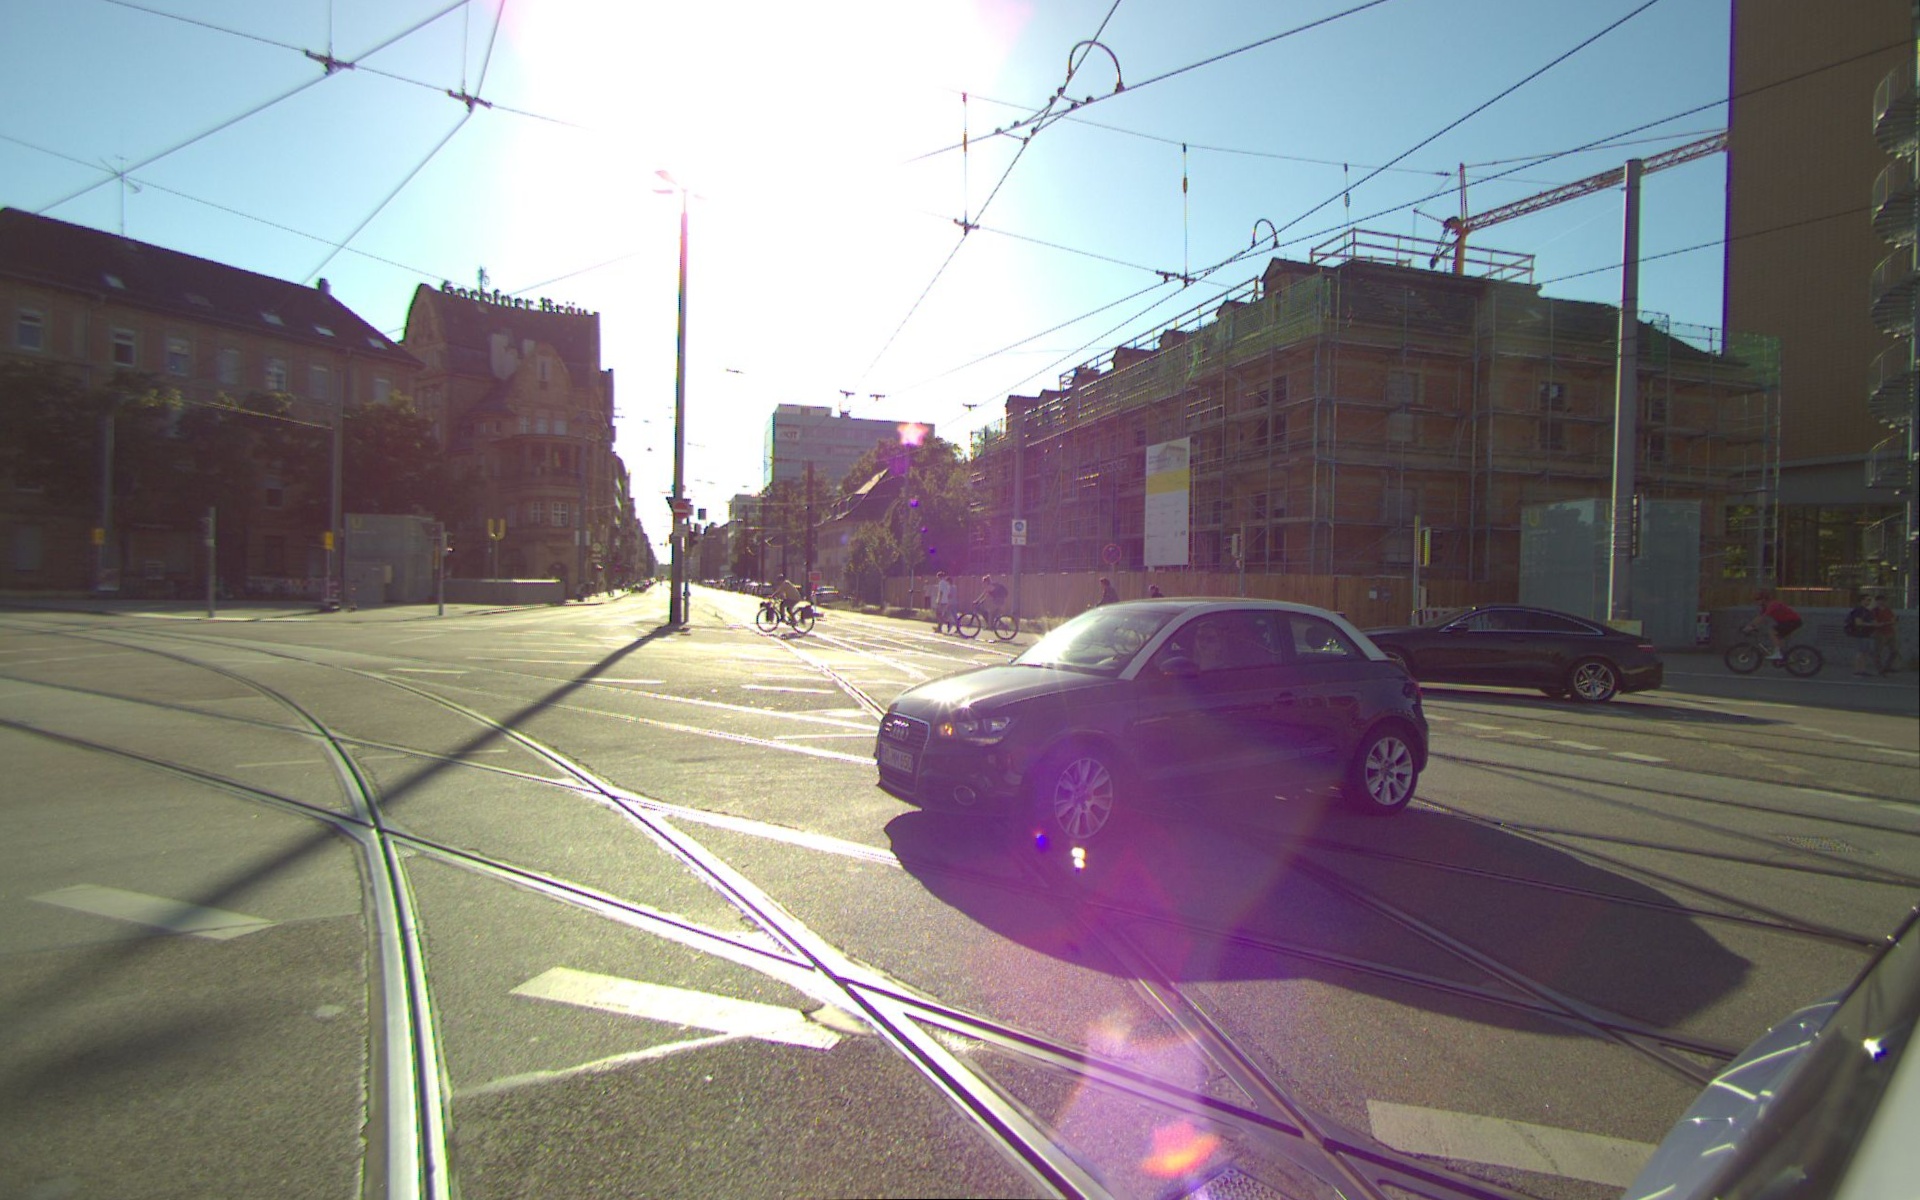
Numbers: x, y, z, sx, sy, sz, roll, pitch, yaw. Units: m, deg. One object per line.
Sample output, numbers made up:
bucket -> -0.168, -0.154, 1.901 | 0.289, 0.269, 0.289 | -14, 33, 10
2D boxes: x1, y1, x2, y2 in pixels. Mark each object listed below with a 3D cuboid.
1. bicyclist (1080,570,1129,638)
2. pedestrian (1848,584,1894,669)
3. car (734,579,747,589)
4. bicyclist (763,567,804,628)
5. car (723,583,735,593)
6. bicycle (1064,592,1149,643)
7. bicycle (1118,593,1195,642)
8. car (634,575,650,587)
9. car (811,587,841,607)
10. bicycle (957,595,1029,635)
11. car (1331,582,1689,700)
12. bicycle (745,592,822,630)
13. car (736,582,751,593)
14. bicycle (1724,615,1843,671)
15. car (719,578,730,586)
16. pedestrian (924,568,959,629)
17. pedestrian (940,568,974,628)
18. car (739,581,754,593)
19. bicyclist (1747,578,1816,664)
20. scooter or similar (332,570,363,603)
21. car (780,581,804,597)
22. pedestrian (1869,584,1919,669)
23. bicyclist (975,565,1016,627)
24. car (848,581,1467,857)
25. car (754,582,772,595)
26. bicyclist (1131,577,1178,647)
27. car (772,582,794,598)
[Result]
bicyclist -> 3.448, 0.097, 24.113 | 0.965, 1.589, 0.642 | 1, -2, 27
pedestrian -> 19.496, 0.551, 21.663 | 0.619, 1.761, 0.656 | 2, 2, 38
car -> -33.191, -2.370, 152.982 | 1.719, 1.482, 4.027 | 0, -1, -17
bicyclist -> -5.148, -0.074, 29.551 | 0.959, 1.717, 0.766 | 2, -1, 9
car -> -39.398, -2.087, 172.891 | 1.719, 1.626, 4.027 | 0, -1, -17
bicycle -> 3.471, 0.410, 24.088 | 1.884, 1.138, 0.642 | 1, -2, 27
bicycle -> 4.844, 0.427, 24.962 | 1.759, 1.138, 0.642 | 1, -2, 28
car -> -57.148, -3.376, 181.833 | 1.959, 2.040, 4.005 | 3, -2, -26
car -> -10.477, -0.196, 78.919 | 1.719, 1.482, 4.027 | 0, -1, -17
bicycle -> 0.922, 0.410, 28.417 | 1.884, 1.040, 0.644 | 2, 0, 21
car -> 8.396, 0.582, 15.934 | 4.589, 1.511, 1.808 | 2, 0, 16
bicycle -> -5.152, 0.320, 29.538 | 2.071, 1.040, 0.766 | 2, 0, 10
car -> -30.781, -1.707, 144.015 | 1.719, 1.482, 4.027 | 0, -1, -17
bicycle -> 17.568, 0.893, 21.652 | 1.867, 0.981, 0.704 | 4, 5, 34
car -> -42.775, -3.268, 183.898 | 1.719, 1.482, 4.027 | 0, -1, -17
pedestrian -> -0.573, -0.038, 31.725 | 0.817, 1.873, 0.680 | 0, -3, 42
pedestrian -> -0.094, -0.051, 32.300 | 0.817, 1.873, 0.680 | 0, -3, 42
car -> -29.398, -1.787, 139.290 | 1.719, 1.482, 4.027 | 0, -1, -17
bicyclist -> 17.538, 0.420, 21.632 | 1.010, 1.728, 0.686 | 3, 4, 34
scooter or similar -> -23.354, -0.517, 38.585 | 0.718, 1.216, 1.443 | 2, 0, -43
car -> -16.141, -1.060, 97.148 | 1.719, 1.482, 4.027 | 0, -1, -17
pedestrian -> 20.131, 0.549, 21.648 | 0.720, 1.761, 0.621 | 1, 2, 7
bicyclist -> 1.004, -0.114, 28.393 | 0.963, 1.717, 0.644 | 2, -1, 20
car -> 1.323, 0.611, 6.747 | 3.752, 1.405, 1.699 | 1, 1, -25
car -> -23.594, -1.323, 121.361 | 1.719, 1.482, 4.027 | 0, -1, -17
bicyclist -> 4.801, 0.299, 24.986 | 0.966, 1.683, 0.642 | 1, -2, 28
car -> -17.969, -0.981, 102.757 | 1.719, 1.482, 4.027 | 0, -1, -17
